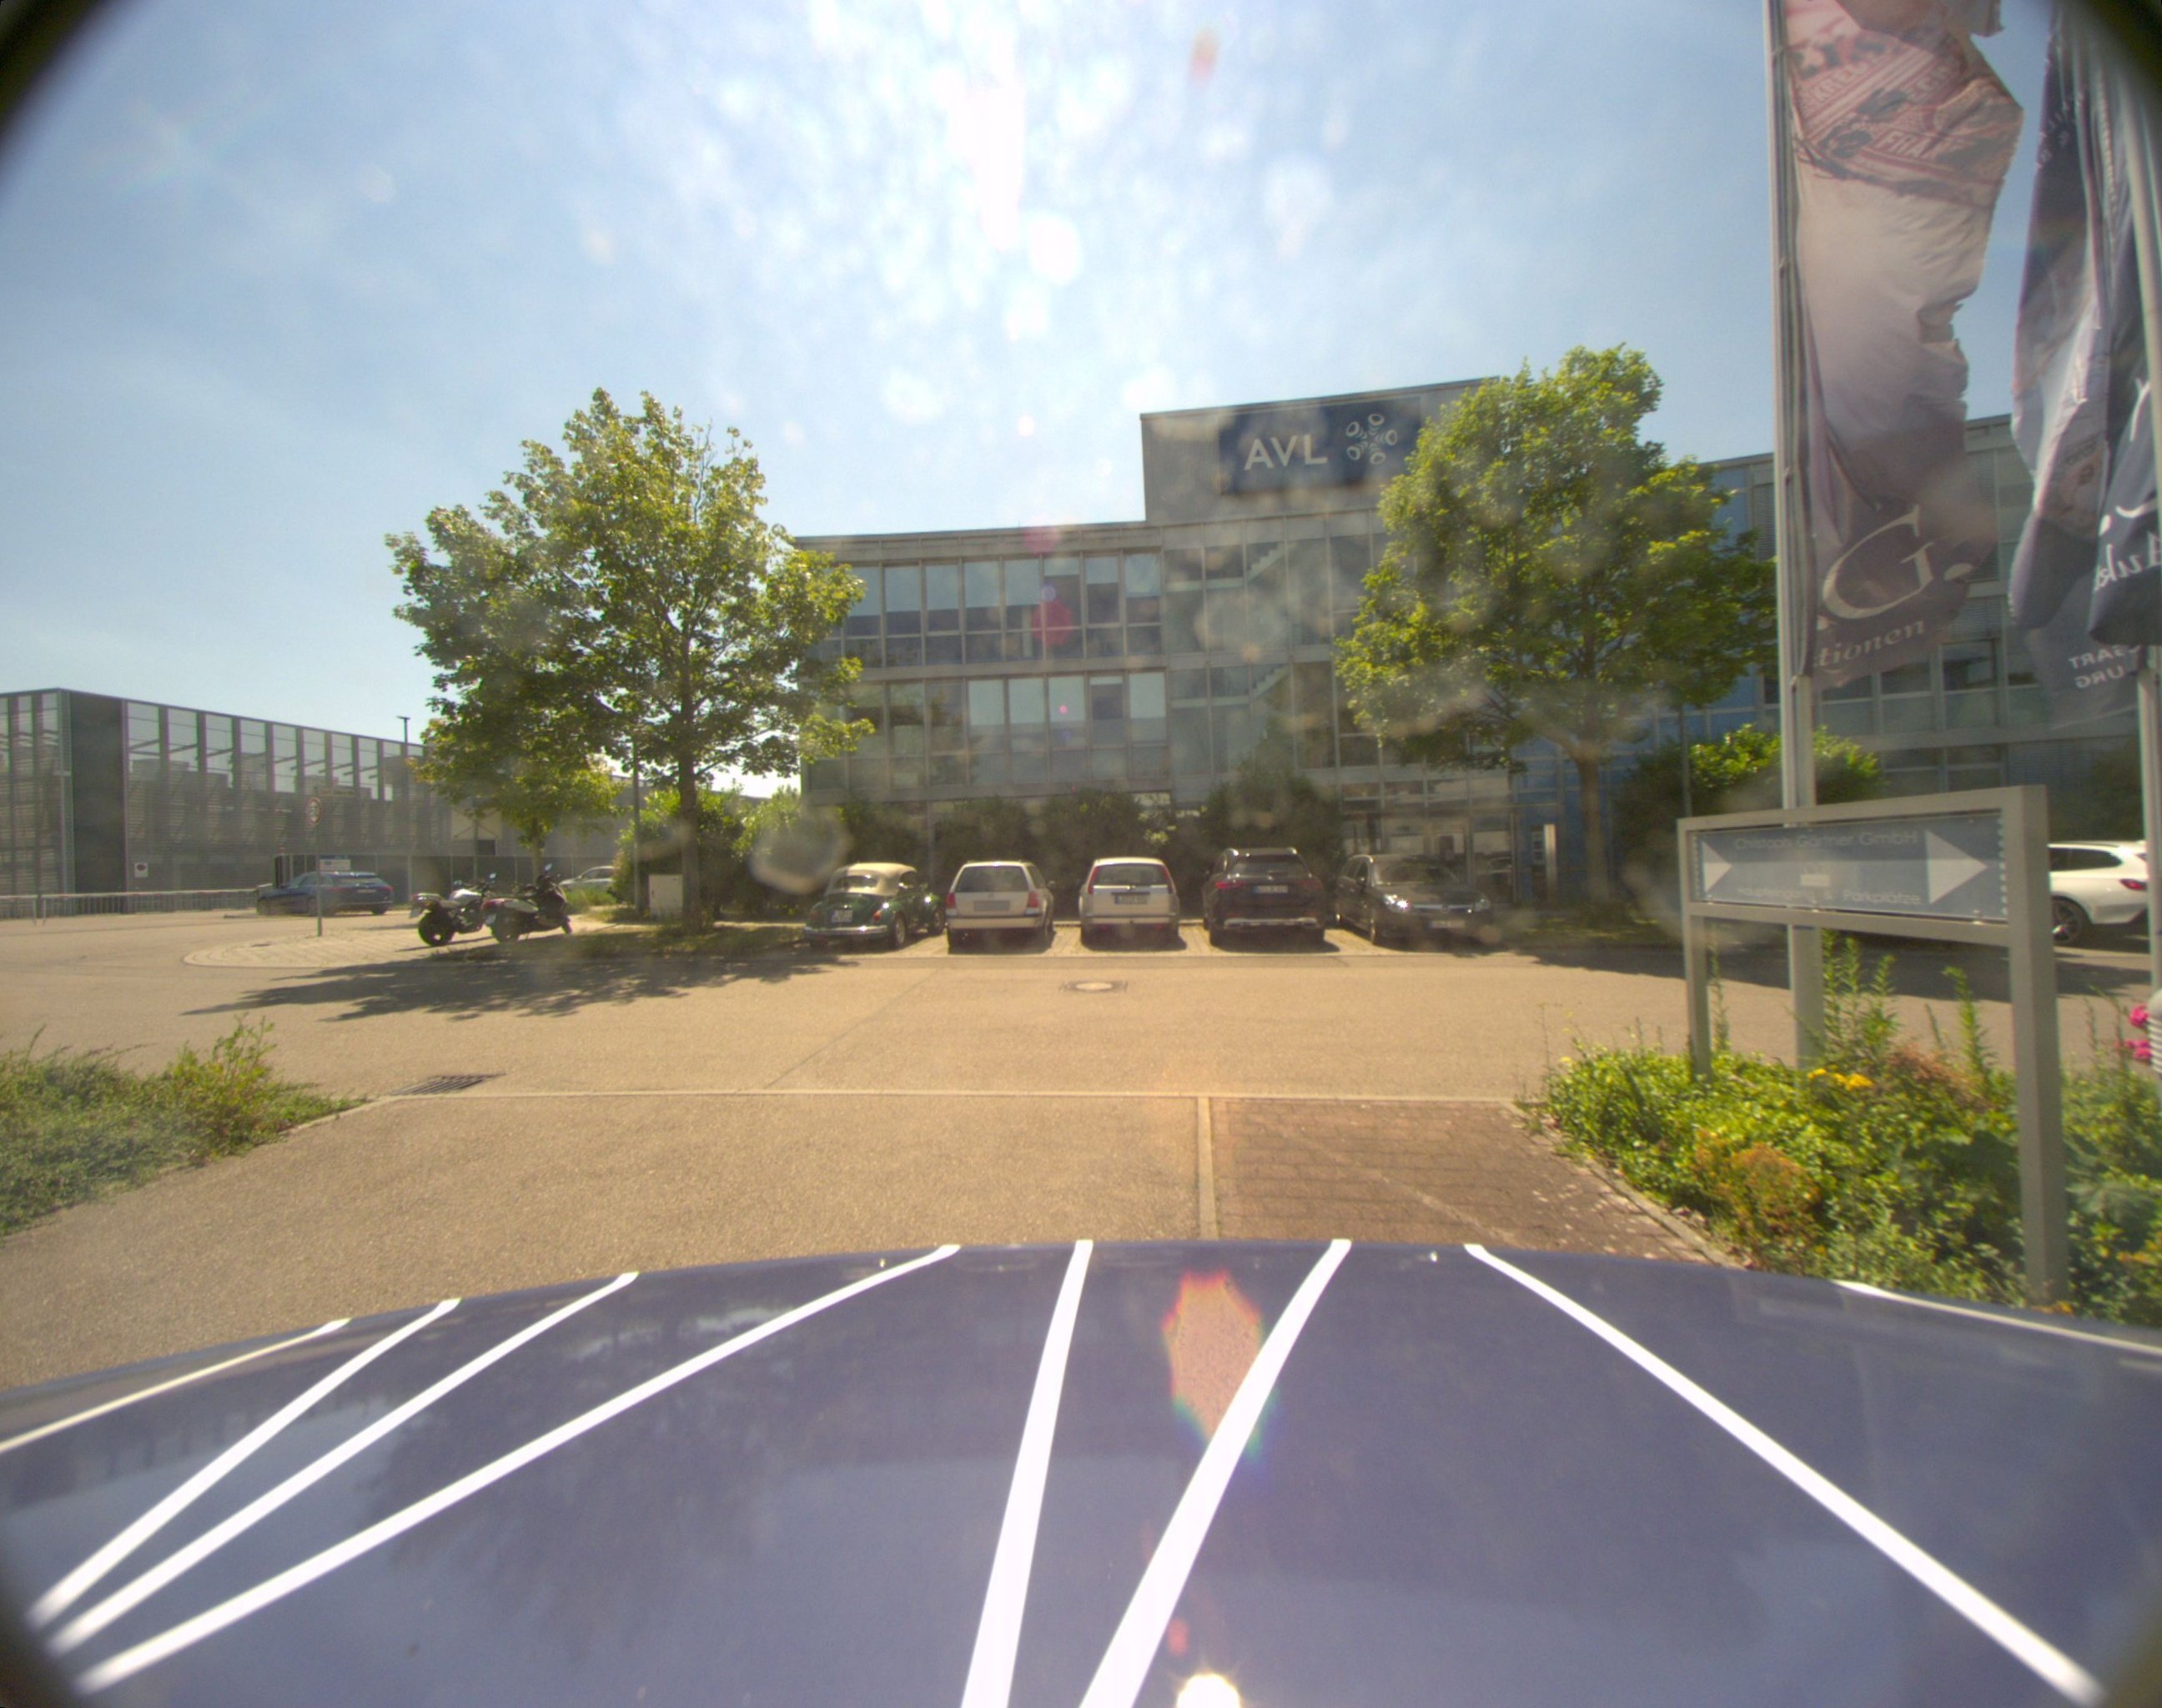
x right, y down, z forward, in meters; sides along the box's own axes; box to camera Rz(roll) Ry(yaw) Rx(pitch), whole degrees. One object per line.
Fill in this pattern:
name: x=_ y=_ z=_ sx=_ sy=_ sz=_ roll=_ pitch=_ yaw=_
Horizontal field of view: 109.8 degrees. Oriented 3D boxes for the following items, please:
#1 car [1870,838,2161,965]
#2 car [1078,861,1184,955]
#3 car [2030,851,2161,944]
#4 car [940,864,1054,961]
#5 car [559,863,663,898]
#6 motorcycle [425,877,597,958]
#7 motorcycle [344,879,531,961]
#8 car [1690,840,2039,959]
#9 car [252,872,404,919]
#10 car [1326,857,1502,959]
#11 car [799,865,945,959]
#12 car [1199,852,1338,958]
car: x=15.048 y=0.590 z=11.731 sx=1.831 sy=1.628 sz=4.174 roll=-1 pitch=0 yaw=9
car: x=0.842 y=0.908 z=14.265 sx=1.731 sy=1.444 sz=3.600 roll=-1 pitch=1 yaw=1
car: x=17.397 y=0.664 z=11.312 sx=1.750 sy=1.392 sz=4.174 roll=-1 pitch=0 yaw=9
car: x=-1.404 y=0.956 z=13.917 sx=1.642 sy=1.444 sz=3.600 roll=0 pitch=1 yaw=1
car: x=-21.300 y=1.208 z=34.433 sx=4.404 sy=1.467 sz=1.783 roll=-1 pitch=0 yaw=24
motorcycle: x=-10.631 y=1.136 z=14.382 sx=0.873 sy=1.252 sz=2.836 roll=-1 pitch=1 yaw=6
motorcycle: x=-11.976 y=1.173 z=14.337 sx=0.873 sy=1.252 sz=2.836 roll=-1 pitch=1 yaw=6
car: x=12.500 y=0.632 z=12.605 sx=1.831 sy=1.628 sz=4.173 roll=-1 pitch=0 yaw=7
car: x=-25.028 y=1.372 z=25.253 sx=4.436 sy=1.401 sz=1.862 roll=-1 pitch=0 yaw=21
car: x=5.713 y=0.832 z=13.632 sx=1.729 sy=1.475 sz=4.399 roll=-1 pitch=0 yaw=8
car: x=-3.696 y=0.970 z=14.021 sx=1.521 sy=1.437 sz=3.420 roll=0 pitch=1 yaw=4
car: x=3.227 y=0.797 z=13.805 sx=1.937 sy=1.593 sz=3.861 roll=-1 pitch=1 yaw=6
